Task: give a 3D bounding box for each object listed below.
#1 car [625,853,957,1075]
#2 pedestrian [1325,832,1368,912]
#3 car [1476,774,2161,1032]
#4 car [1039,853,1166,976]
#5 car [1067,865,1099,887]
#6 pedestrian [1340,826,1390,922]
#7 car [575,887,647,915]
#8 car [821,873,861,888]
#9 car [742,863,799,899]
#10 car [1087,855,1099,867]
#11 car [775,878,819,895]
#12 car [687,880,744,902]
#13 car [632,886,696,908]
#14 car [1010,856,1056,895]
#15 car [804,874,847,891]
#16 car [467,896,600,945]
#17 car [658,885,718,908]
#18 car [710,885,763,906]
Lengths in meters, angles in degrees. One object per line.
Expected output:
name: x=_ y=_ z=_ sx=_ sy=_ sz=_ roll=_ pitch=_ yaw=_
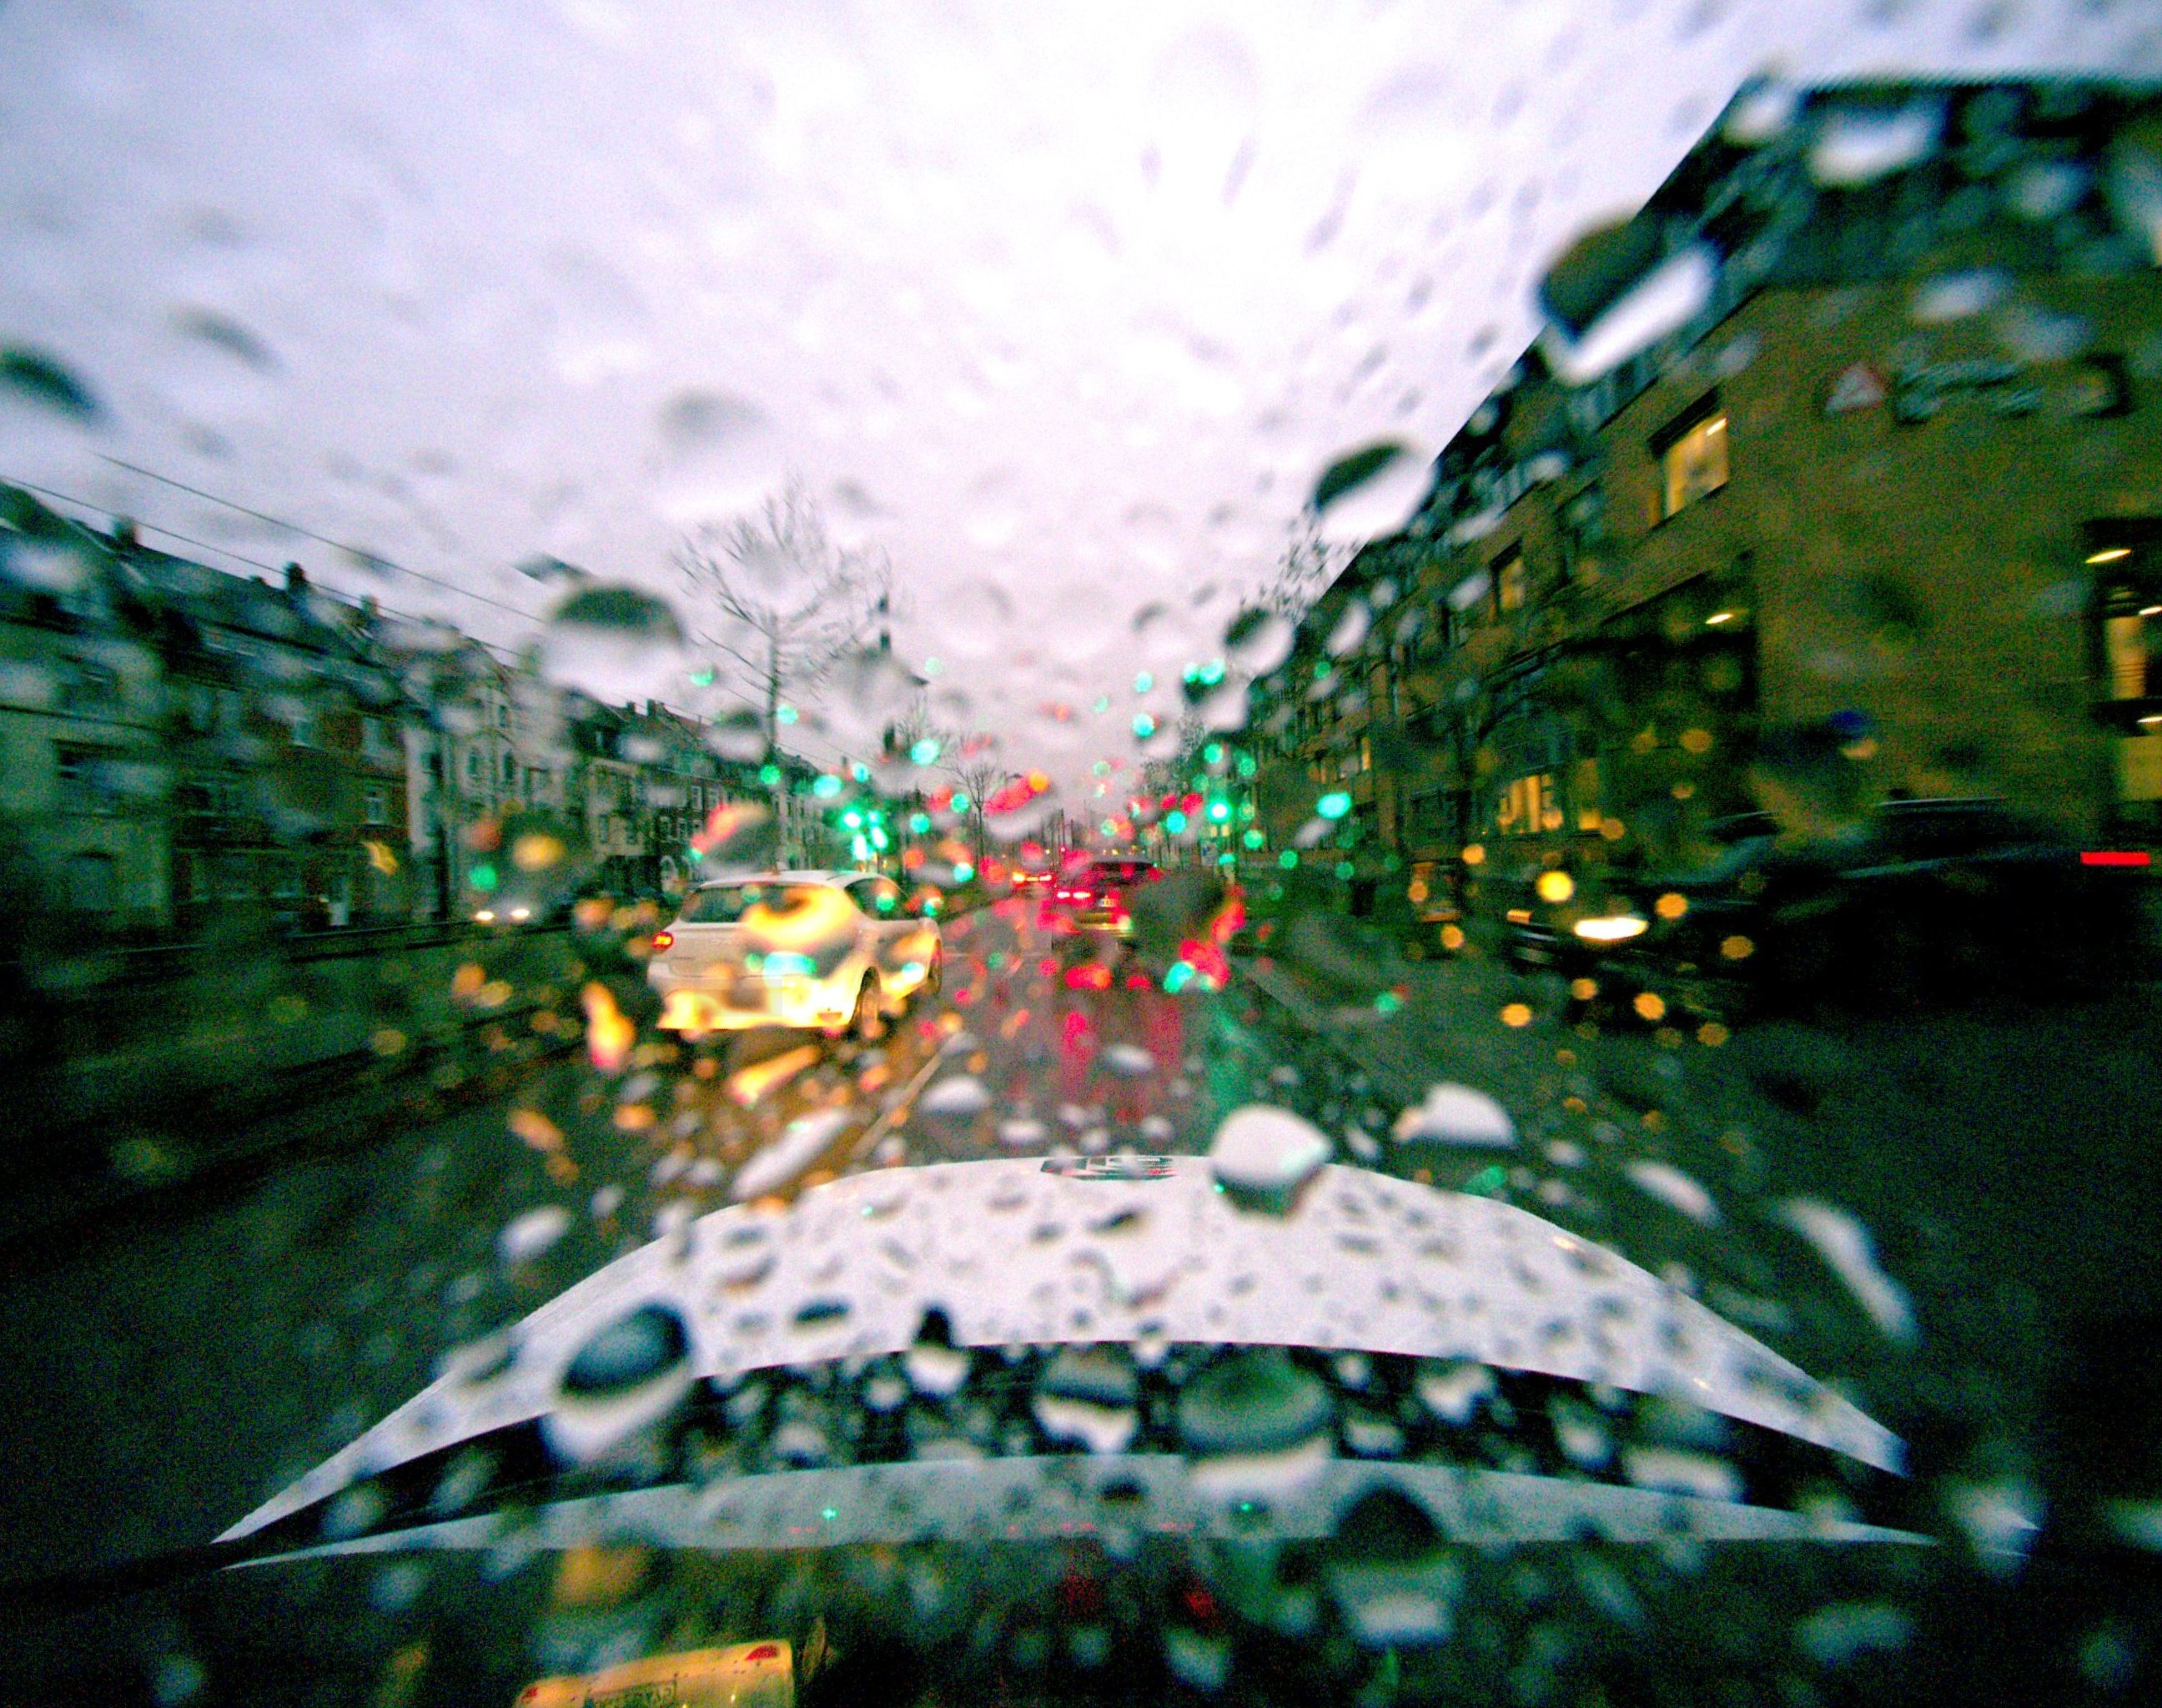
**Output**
car: x=-2.468 y=0.836 z=8.074 sx=1.665 sy=1.600 sz=4.055 roll=-2 pitch=-1 yaw=2
pedestrian: x=5.985 y=0.411 z=18.381 sx=0.507 sy=1.742 sz=0.651 roll=-3 pitch=-1 yaw=-31
car: x=5.683 y=0.366 z=6.673 sx=3.971 sy=1.555 sz=1.743 roll=-4 pitch=-1 yaw=2
car: x=0.357 y=0.833 z=13.003 sx=1.665 sy=1.600 sz=4.055 roll=-2 pitch=-1 yaw=2
car: x=0.170 y=1.525 z=56.988 sx=1.986 sy=1.298 sz=3.481 roll=-4 pitch=-1 yaw=2
pedestrian: x=5.563 y=0.394 z=15.961 sx=0.506 sy=1.824 sz=0.652 roll=-3 pitch=-1 yaw=-24
car: x=-25.950 y=2.620 z=44.944 sx=3.948 sy=1.332 sz=2.013 roll=-4 pitch=-1 yaw=37
car: x=-24.941 y=2.763 z=84.608 sx=3.948 sy=1.332 sz=2.013 roll=-4 pitch=-1 yaw=39
car: x=-26.259 y=2.273 z=68.721 sx=5.792 sy=2.797 sz=2.012 roll=-4 pitch=-1 yaw=43
car: x=2.070 y=1.231 z=144.407 sx=1.987 sy=1.915 sz=4.000 roll=-4 pitch=-1 yaw=0
car: x=-26.139 y=2.956 z=74.899 sx=3.948 sy=1.332 sz=2.013 roll=-4 pitch=-1 yaw=39
car: x=-26.202 y=2.647 z=58.385 sx=3.948 sy=1.332 sz=2.013 roll=-4 pitch=-1 yaw=36
car: x=-25.433 y=2.623 z=49.626 sx=3.948 sy=1.169 sz=2.013 roll=-4 pitch=-1 yaw=40
car: x=-2.132 y=0.948 z=37.170 sx=1.665 sy=1.600 sz=4.055 roll=-2 pitch=-1 yaw=2
car: x=-25.588 y=2.832 z=81.521 sx=3.948 sy=1.486 sz=2.013 roll=-4 pitch=-1 yaw=36
car: x=-21.338 y=2.550 z=32.033 sx=1.857 sy=1.453 sz=4.701 roll=-4 pitch=-1 yaw=2
car: x=-26.552 y=2.864 z=55.009 sx=3.948 sy=1.332 sz=2.013 roll=-4 pitch=-1 yaw=37
car: x=-26.028 y=3.146 z=61.575 sx=3.948 sy=1.332 sz=2.013 roll=-4 pitch=-1 yaw=39
